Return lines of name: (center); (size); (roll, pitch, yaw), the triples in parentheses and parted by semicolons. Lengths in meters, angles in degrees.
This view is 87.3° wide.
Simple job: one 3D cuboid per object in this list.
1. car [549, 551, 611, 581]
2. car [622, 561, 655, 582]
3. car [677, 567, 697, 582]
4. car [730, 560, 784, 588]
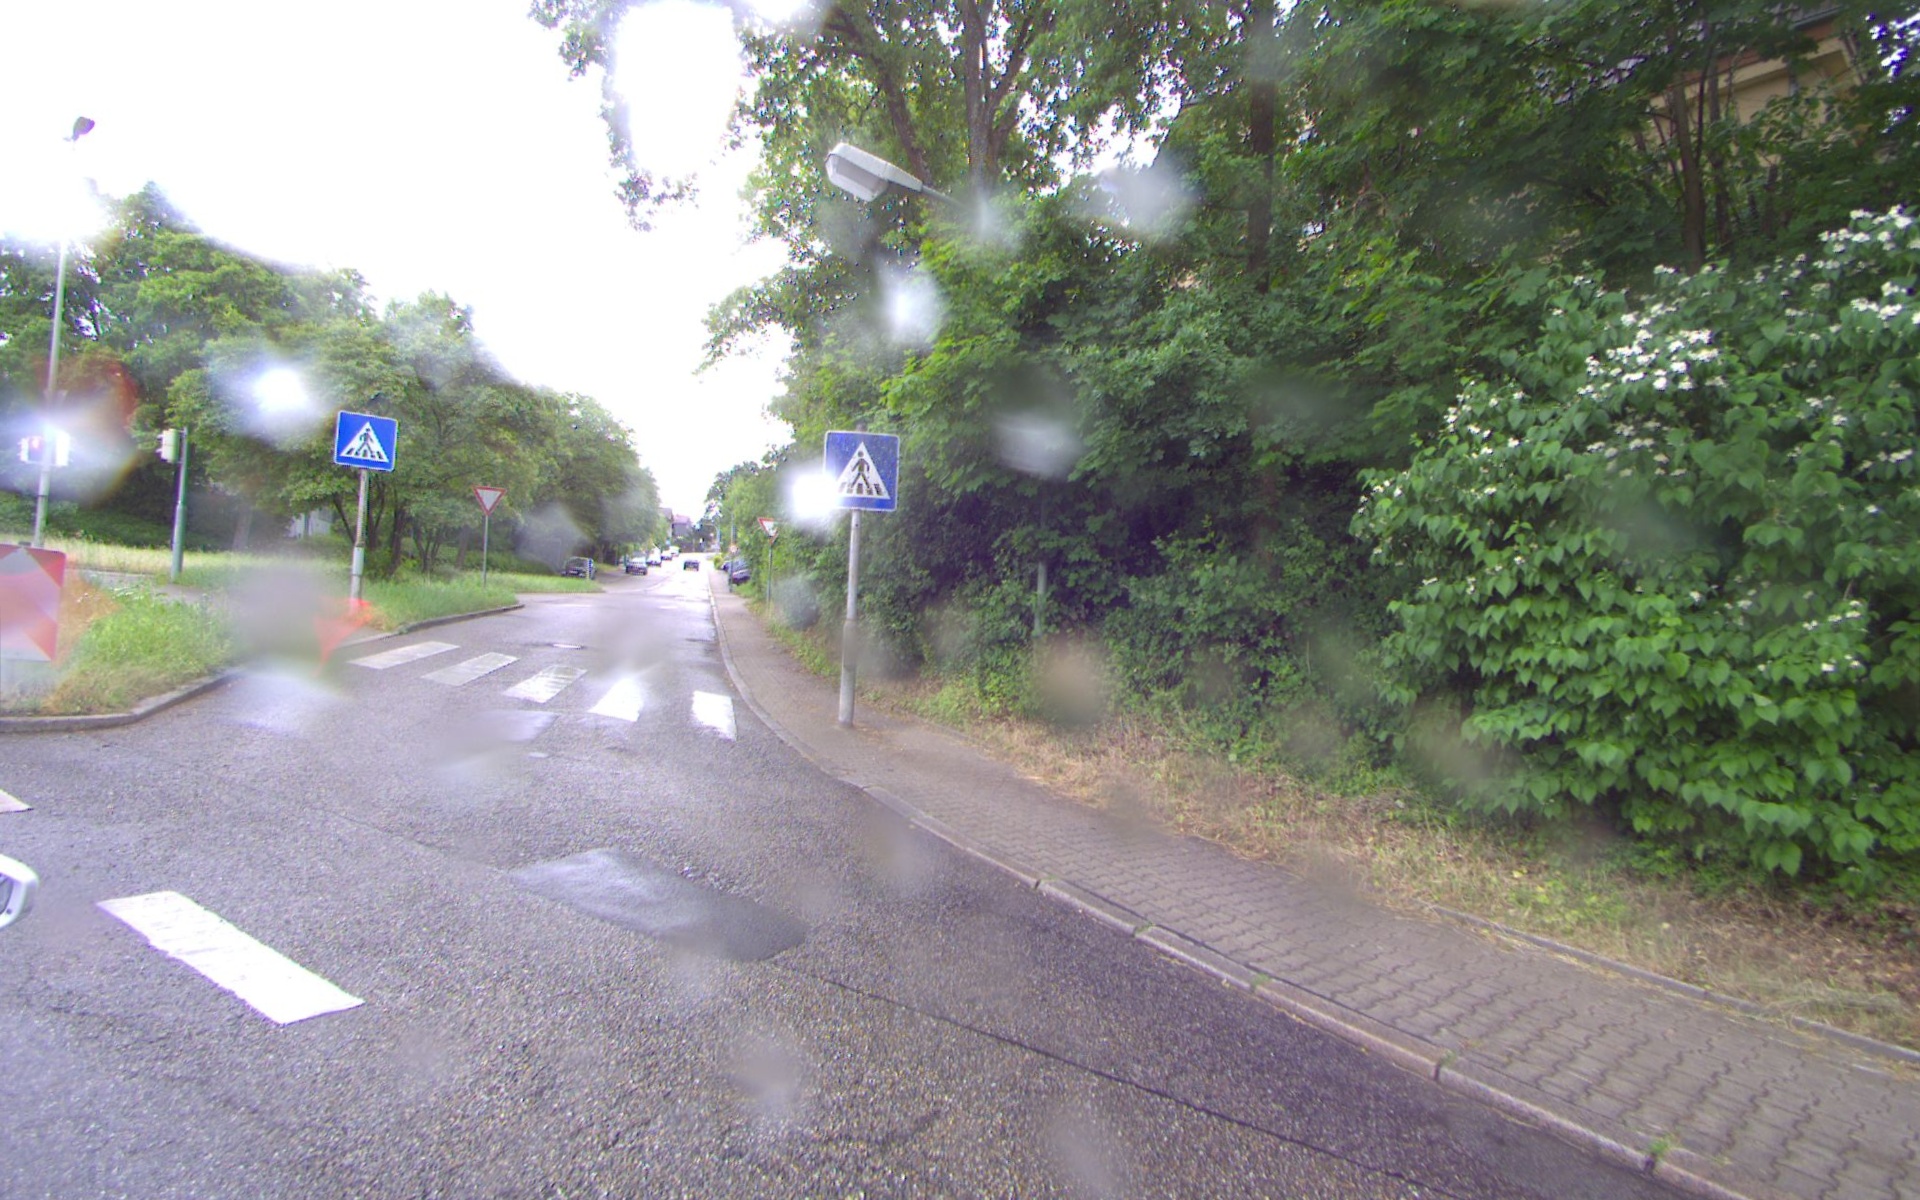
car: (-25.373, -2.236, 67.321); (1.793, 1.590, 4.001); (7, 0, 15)
car: (-29.927, -2.635, 93.709); (1.672, 1.462, 4.002); (7, -2, -2)
car: (-32.953, -3.006, 121.202); (1.918, 1.474, 4.200); (8, -2, -19)
car: (-16.080, -2.057, 79.590); (3.937, 1.668, 1.951); (7, 0, -15)
